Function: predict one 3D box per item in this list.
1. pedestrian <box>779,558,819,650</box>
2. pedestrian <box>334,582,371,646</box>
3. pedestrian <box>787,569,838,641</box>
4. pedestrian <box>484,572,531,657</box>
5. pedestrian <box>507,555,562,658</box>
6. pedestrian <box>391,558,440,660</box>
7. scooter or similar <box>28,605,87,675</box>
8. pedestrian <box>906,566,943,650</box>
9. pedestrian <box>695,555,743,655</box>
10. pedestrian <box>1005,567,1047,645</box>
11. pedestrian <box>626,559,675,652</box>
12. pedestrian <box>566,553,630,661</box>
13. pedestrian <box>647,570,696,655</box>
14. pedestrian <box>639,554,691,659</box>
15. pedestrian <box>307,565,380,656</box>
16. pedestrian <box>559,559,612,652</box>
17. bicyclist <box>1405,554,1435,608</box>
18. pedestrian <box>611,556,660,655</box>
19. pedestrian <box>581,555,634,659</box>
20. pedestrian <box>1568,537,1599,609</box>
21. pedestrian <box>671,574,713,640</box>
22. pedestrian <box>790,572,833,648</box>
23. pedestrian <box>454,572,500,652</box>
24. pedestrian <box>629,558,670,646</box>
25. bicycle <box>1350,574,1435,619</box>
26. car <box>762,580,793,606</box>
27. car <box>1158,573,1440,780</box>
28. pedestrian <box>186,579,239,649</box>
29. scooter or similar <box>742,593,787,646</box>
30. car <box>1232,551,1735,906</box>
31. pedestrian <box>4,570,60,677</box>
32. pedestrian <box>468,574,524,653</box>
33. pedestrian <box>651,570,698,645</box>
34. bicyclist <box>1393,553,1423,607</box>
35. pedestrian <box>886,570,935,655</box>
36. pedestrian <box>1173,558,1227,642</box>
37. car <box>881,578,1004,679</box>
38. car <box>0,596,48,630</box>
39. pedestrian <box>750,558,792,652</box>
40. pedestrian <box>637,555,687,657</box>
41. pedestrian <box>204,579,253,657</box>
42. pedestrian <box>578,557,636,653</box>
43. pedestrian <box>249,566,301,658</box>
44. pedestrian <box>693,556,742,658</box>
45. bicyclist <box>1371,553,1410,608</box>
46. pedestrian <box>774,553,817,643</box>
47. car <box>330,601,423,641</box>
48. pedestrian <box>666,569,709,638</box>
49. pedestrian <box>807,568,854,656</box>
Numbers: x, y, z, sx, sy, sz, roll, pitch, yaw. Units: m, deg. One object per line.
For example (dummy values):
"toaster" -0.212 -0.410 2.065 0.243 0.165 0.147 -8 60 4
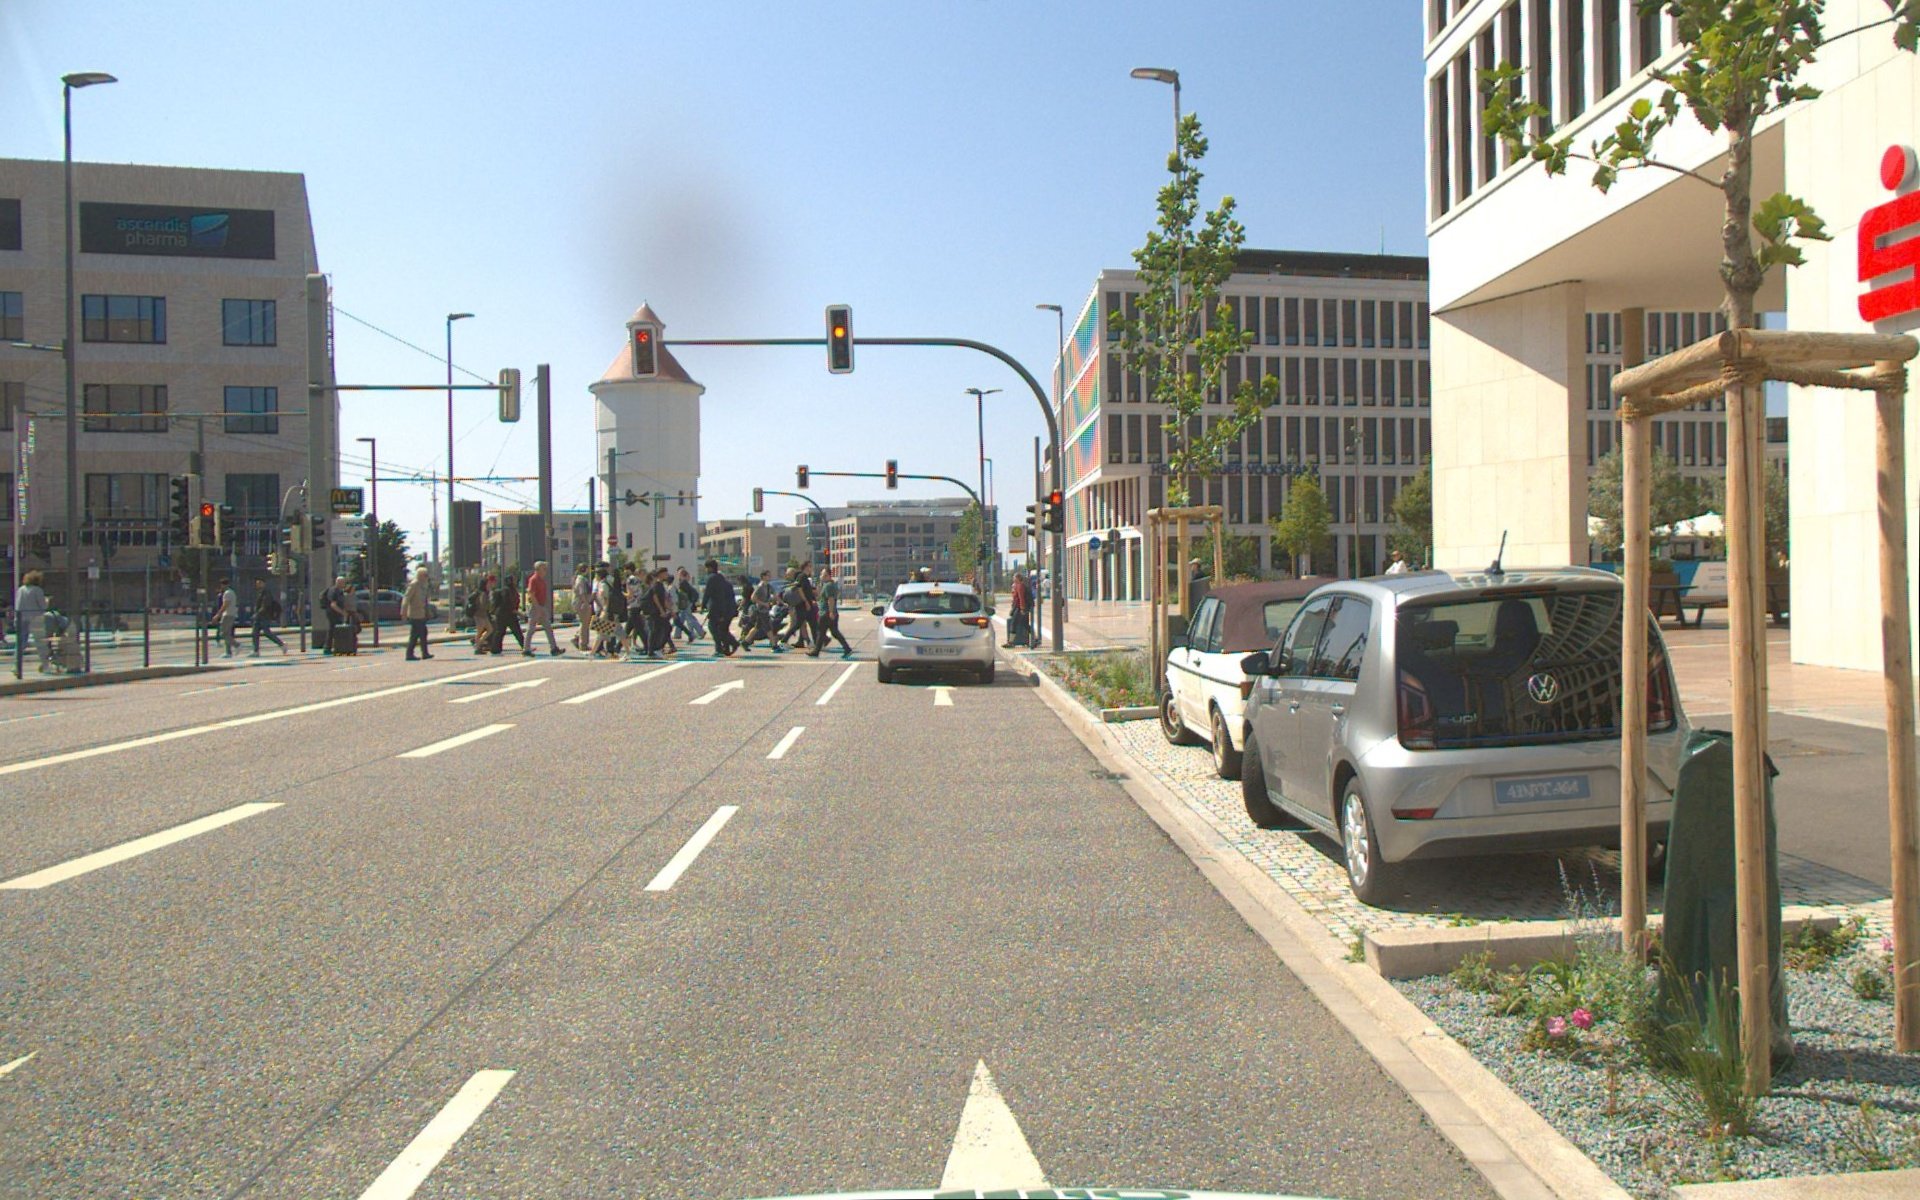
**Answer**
"pedestrian" -3.417 0.077 35.107 0.750 1.923 0.692 -1 0 0
"pedestrian" -16.522 0.371 44.962 0.659 1.711 0.692 -1 1 40
"pedestrian" -3.891 0.119 43.635 1.156 1.852 1.069 -1 0 3
"pedestrian" -8.897 0.280 32.533 0.620 1.646 0.768 -1 0 5
"pedestrian" -8.096 0.121 31.507 0.870 1.923 0.691 -1 0 -6
"pedestrian" -10.408 0.169 31.613 0.623 1.923 0.796 -1 0 0
"scooter or similar" -14.589 0.638 26.747 0.494 1.077 0.833 -1 1 -1
"pedestrian" -0.756 0.166 35.285 0.750 1.764 0.692 -1 0 0
"pedestrian" -4.743 0.093 32.618 0.870 1.923 0.795 -1 0 -6
"pedestrian" 1.447 0.123 36.062 0.869 1.675 0.797 -1 0 3
"pedestrian" -6.565 0.110 35.119 0.870 1.923 0.796 -1 0 -1
"pedestrian" -6.583 0.128 30.107 0.993 1.923 0.798 -1 0 -4
"pedestrian" -5.815 0.238 33.346 0.777 1.675 0.891 -1 0 1
"pedestrian" -5.504 0.113 30.932 0.870 1.923 0.691 -1 0 -6
"pedestrian" -13.551 0.215 36.385 1.145 1.923 1.060 -1 2 0
"pedestrian" -7.852 0.110 34.705 0.869 1.923 0.797 -1 0 4
"bicyclist" 11.942 -0.504 42.933 0.352 1.384 0.899 -1 0 -12
"pedestrian" -6.420 0.108 32.733 0.715 1.923 0.821 -1 0 5
"pedestrian" -6.658 0.126 31.250 0.870 1.923 0.691 -1 0 -6
"pedestrian" 18.006 -0.789 47.791 0.630 2.049 0.622 -1 0 -1
"pedestrian" -6.839 0.173 42.272 0.869 1.675 0.797 -1 0 3
"pedestrian" -3.333 0.218 37.102 0.872 1.675 0.794 -1 0 -11
"pedestrian" -9.906 0.239 33.944 0.713 1.603 0.642 -1 0 4
"pedestrian" -6.844 0.040 36.468 0.719 1.923 0.714 1 0 4
"bicycle" 11.185 -0.099 42.752 1.927 1.102 0.902 -1 1 -13
"car" -10.855 -0.397 98.288 1.555 1.557 3.691 0 0 -2
"car" 2.597 0.506 13.511 1.400 1.414 3.999 -1 1 -1
"pedestrian" -20.640 0.378 45.707 0.869 1.923 0.984 -1 0 19
"scooter or similar" -4.358 0.432 36.902 0.933 1.137 0.765 -1 0 -11
"car" 2.541 0.532 8.854 1.524 1.498 3.469 -1 1 -1
"pedestrian" -14.570 0.355 25.977 0.494 1.650 0.650 -1 0 -1
"pedestrian" -9.976 0.279 35.577 0.891 1.665 0.814 -1 0 4
"pedestrian" -6.517 0.167 37.831 0.869 1.675 0.797 -1 0 3
"bicyclist" 11.594 -0.509 42.844 0.352 1.384 0.911 -1 0 -12
"pedestrian" -0.963 0.236 32.399 0.750 1.648 0.692 -1 0 16
"pedestrian" 4.905 -0.004 33.832 0.970 1.684 0.692 -1 0 1
"car" -0.215 0.419 25.217 1.735 1.419 3.532 1 -1 1
"car" -43.900 0.598 75.248 3.816 1.512 1.680 -1 1 -11
"pedestrian" -3.925 0.101 34.344 0.750 1.923 0.692 -1 0 0
"pedestrian" -5.712 0.108 31.742 0.870 1.923 0.691 -1 0 -6
"pedestrian" -16.386 0.396 37.069 0.880 1.703 1.008 -1 0 -19
"pedestrian" -7.169 0.102 33.621 0.869 1.923 0.797 -1 0 12
"pedestrian" -15.536 0.256 37.541 1.005 2.049 0.949 -1 0 -19
"pedestrian" -4.655 0.125 31.811 0.870 1.923 0.795 -1 0 -6
"bicyclist" 11.119 -0.503 42.737 0.605 1.384 0.898 -1 0 -12
"pedestrian" -3.559 -0.048 35.910 0.824 1.923 0.692 -1 0 0
"car" -27.101 0.968 76.915 3.873 1.847 1.792 0 0 -13
"pedestrian" -6.795 0.085 41.240 0.869 1.675 0.797 -1 0 3
"pedestrian" -2.505 0.228 32.006 0.870 1.663 0.691 -1 0 -6
